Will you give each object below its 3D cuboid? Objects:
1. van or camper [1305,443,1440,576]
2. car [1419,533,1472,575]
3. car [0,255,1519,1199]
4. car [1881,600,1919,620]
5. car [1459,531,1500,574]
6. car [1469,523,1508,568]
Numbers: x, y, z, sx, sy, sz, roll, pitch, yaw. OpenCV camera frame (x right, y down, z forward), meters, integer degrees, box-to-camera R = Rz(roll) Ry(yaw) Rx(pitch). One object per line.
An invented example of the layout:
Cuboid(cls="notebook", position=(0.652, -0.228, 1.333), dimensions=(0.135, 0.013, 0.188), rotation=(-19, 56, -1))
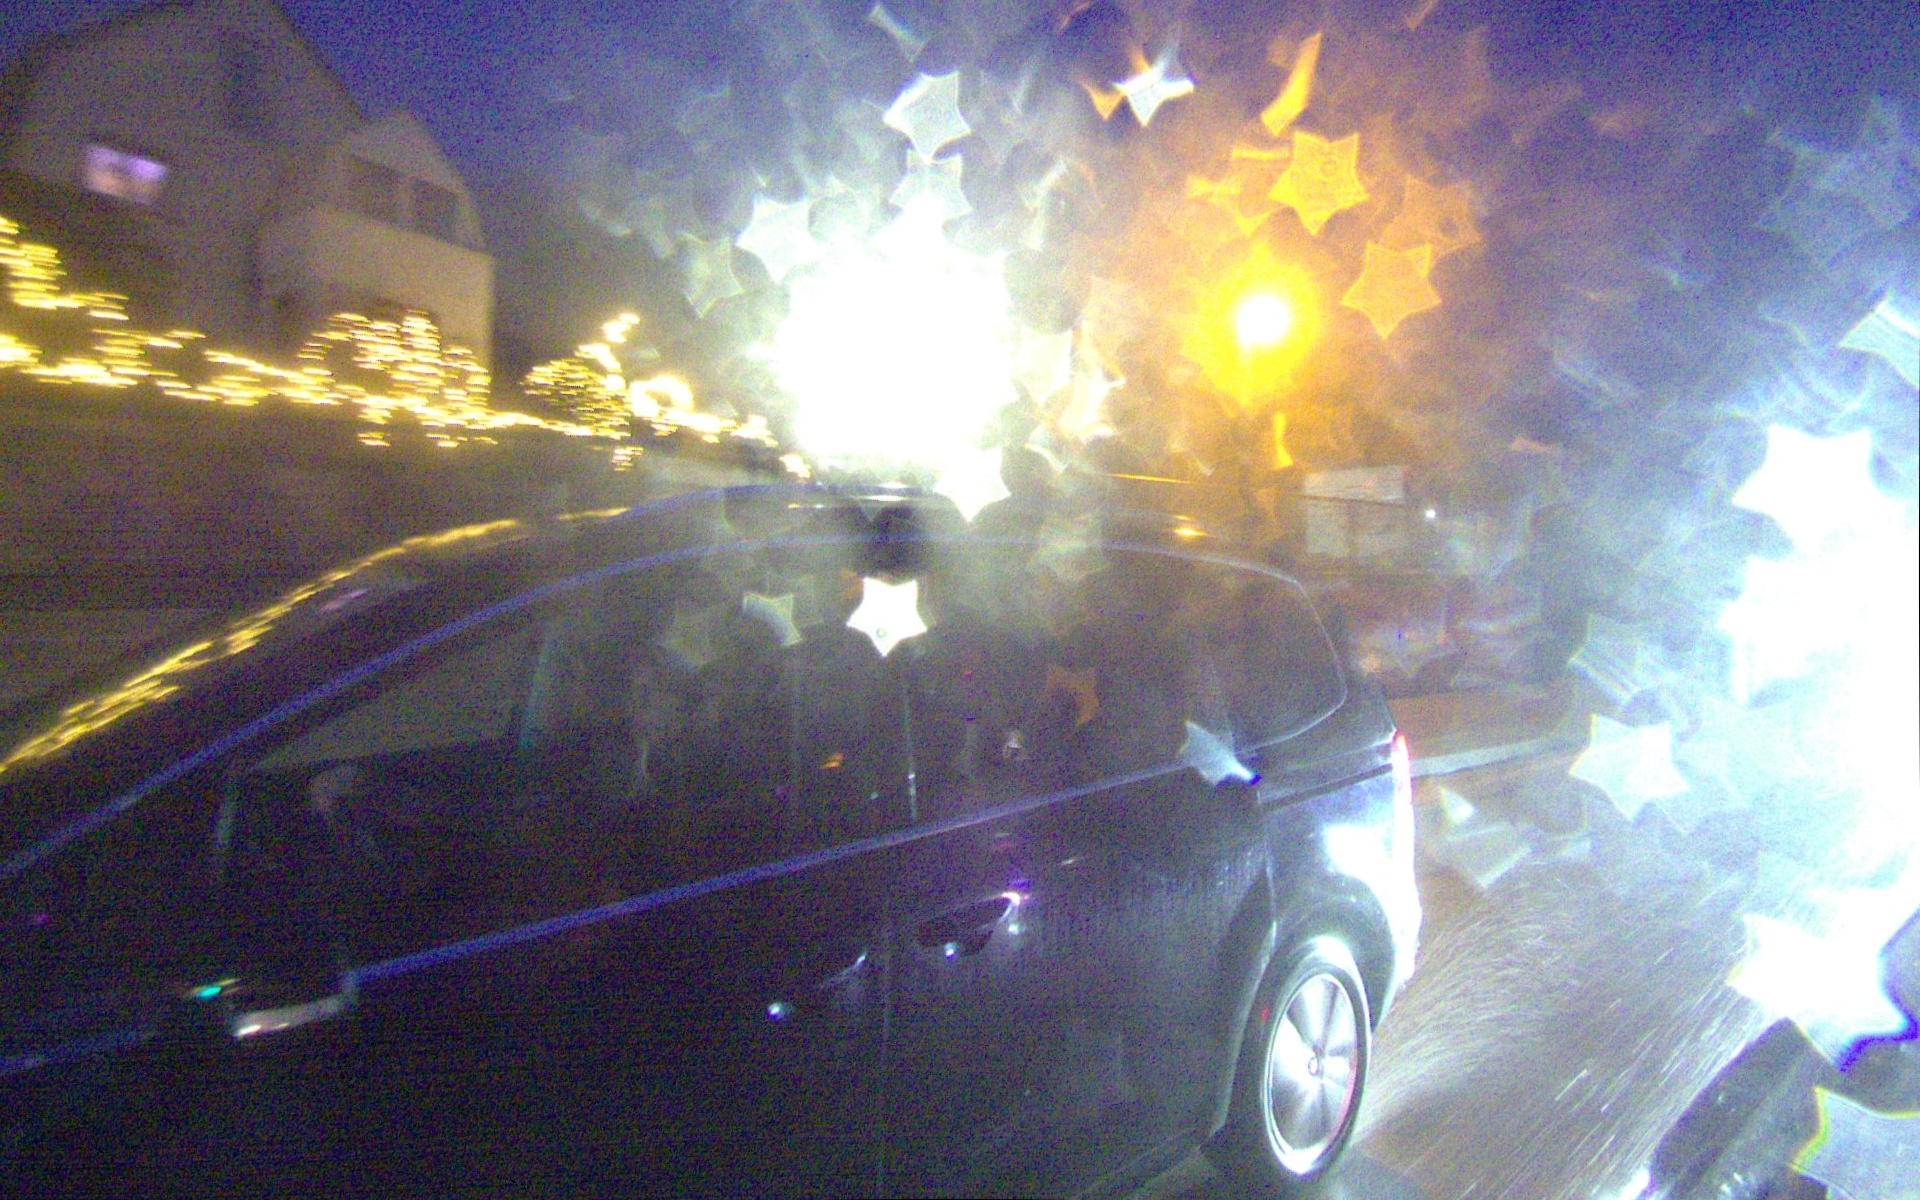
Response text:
Cuboid(cls="van or camper", position=(10.463, -2.059, 25.382), dimensions=(2.394, 2.828, 5.712), rotation=(-1, 0, 30))
Cuboid(cls="car", position=(25.986, -2.419, 54.128), dimensions=(1.986, 2.039, 3.951), rotation=(-1, 0, 34))
Cuboid(cls="car", position=(-0.653, 0.556, 2.324), dimensions=(4.855, 1.757, 1.837), rotation=(-1, 0, -41))
Cuboid(cls="car", position=(103.655, 1.072, 110.732), dimensions=(1.962, 2.039, 4.000), rotation=(0, 0, 0))
Cuboid(cls="car", position=(32.554, -2.930, 63.365), dimensions=(1.922, 2.451, 4.206), rotation=(-1, 0, 32))
Cuboid(cls="car", position=(35.468, -3.581, 67.859), dimensions=(1.922, 2.810, 4.206), rotation=(-1, 0, 32))
